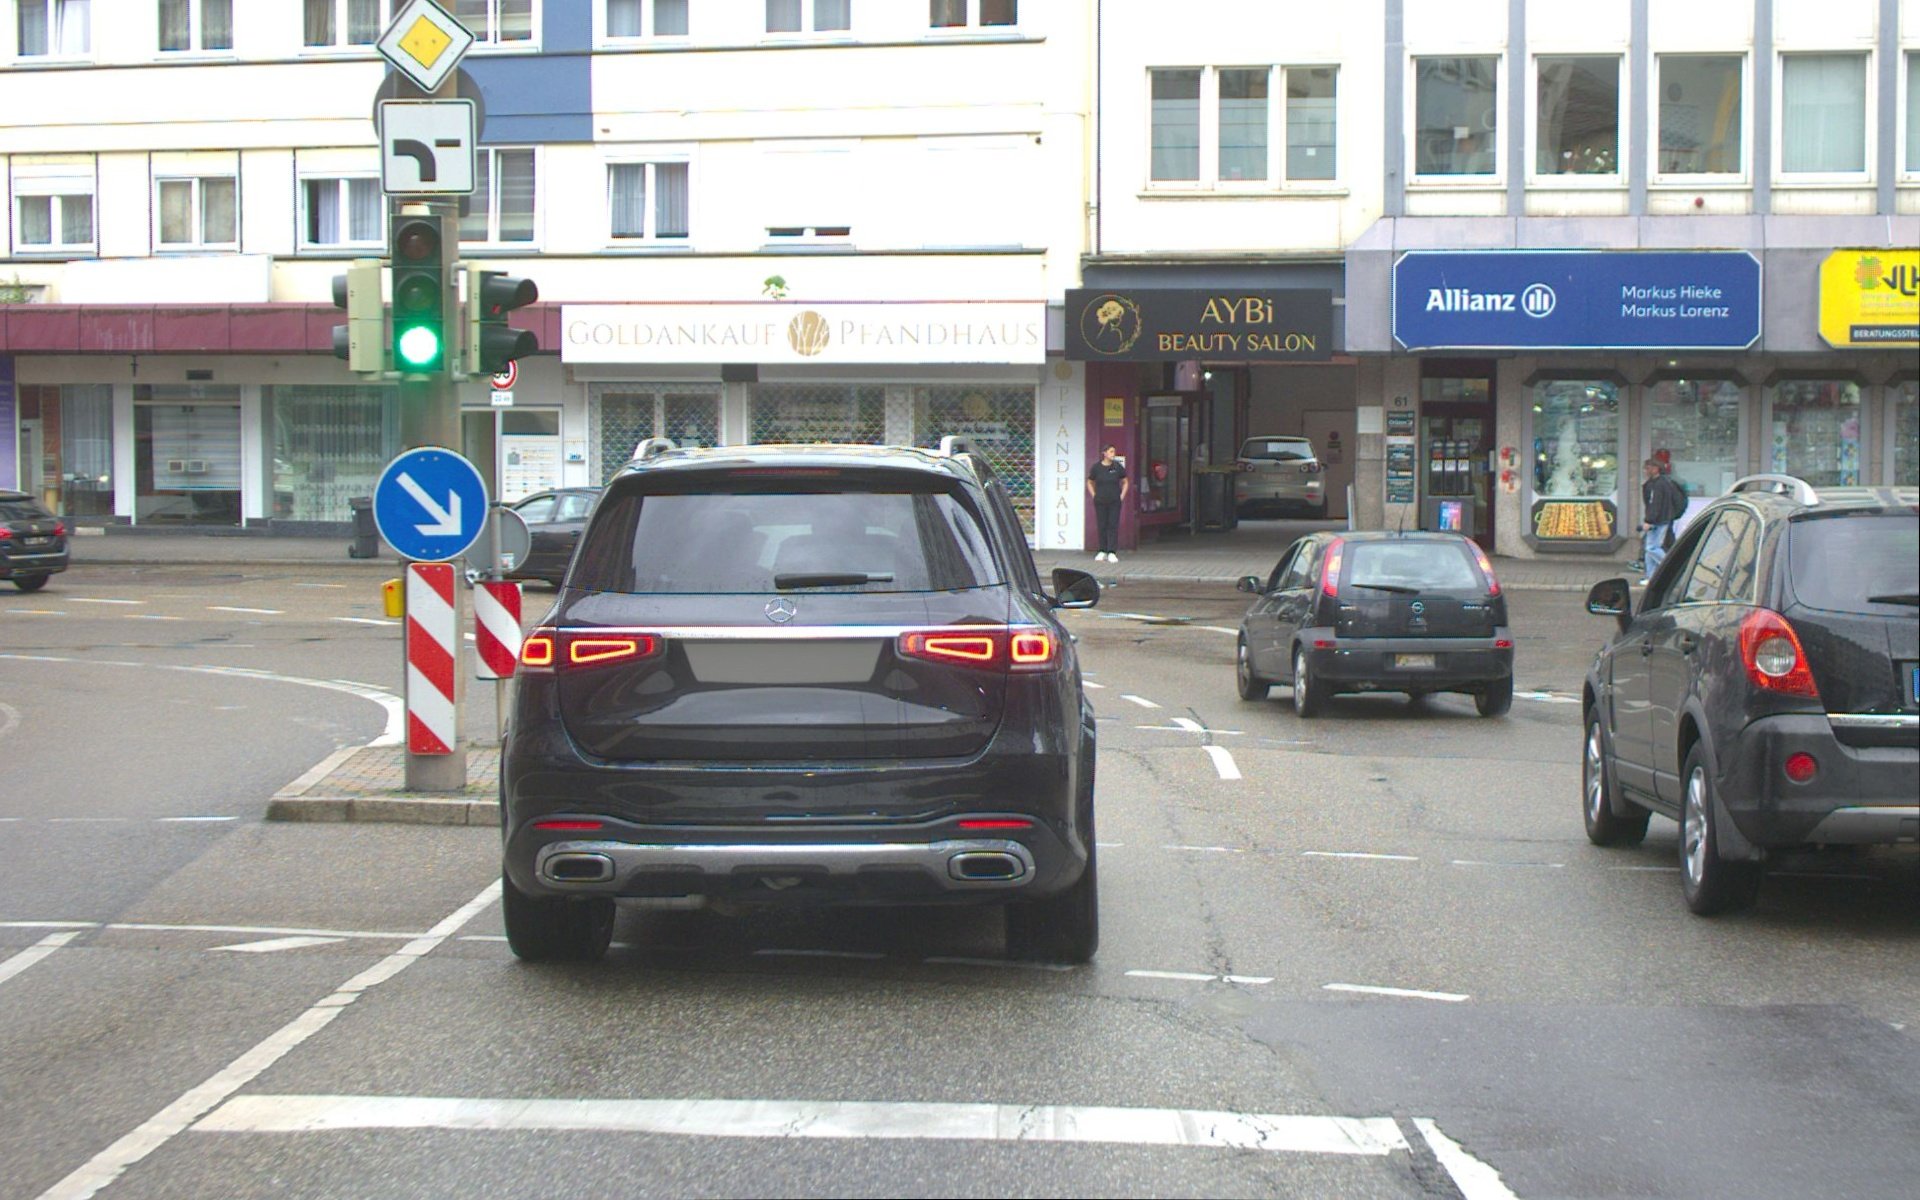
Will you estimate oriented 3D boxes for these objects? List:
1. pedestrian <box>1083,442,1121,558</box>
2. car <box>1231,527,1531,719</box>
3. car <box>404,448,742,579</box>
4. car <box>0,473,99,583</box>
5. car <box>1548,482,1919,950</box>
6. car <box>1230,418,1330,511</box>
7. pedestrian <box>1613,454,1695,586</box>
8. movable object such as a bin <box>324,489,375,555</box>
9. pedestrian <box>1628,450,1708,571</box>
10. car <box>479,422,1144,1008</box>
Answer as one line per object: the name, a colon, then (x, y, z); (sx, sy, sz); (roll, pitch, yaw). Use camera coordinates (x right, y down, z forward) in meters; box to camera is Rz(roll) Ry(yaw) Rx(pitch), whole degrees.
pedestrian: (2.160, -1.527, 52.255); (0.564, 1.683, 0.756); (0, 7, 3)
car: (3.252, 0.127, 27.242); (1.767, 1.392, 4.000); (0, 1, -2)
car: (-5.339, -1.196, 47.210); (4.490, 1.653, 1.825); (2, 0, 35)
car: (-14.317, -1.005, 48.158); (4.230, 1.481, 1.996); (1, 1, 32)
car: (3.809, 0.374, 14.735); (1.897, 1.689, 4.505); (1, 2, 2)
car: (5.924, -2.481, 63.709); (1.797, 1.664, 3.999); (0, 1, 5)
pedestrian: (9.839, -1.141, 48.779); (1.030, 1.793, 0.830); (1, 7, 6)
movable object such as a bin: (-9.658, -1.241, 54.361); (0.536, 0.947, 0.620); (-8, 10, -32)
pedestrian: (10.368, -1.321, 50.383); (1.030, 1.683, 0.830); (1, 7, 5)
car: (-0.665, 0.318, 13.097); (2.038, 1.793, 4.664); (1, 1, -5)
